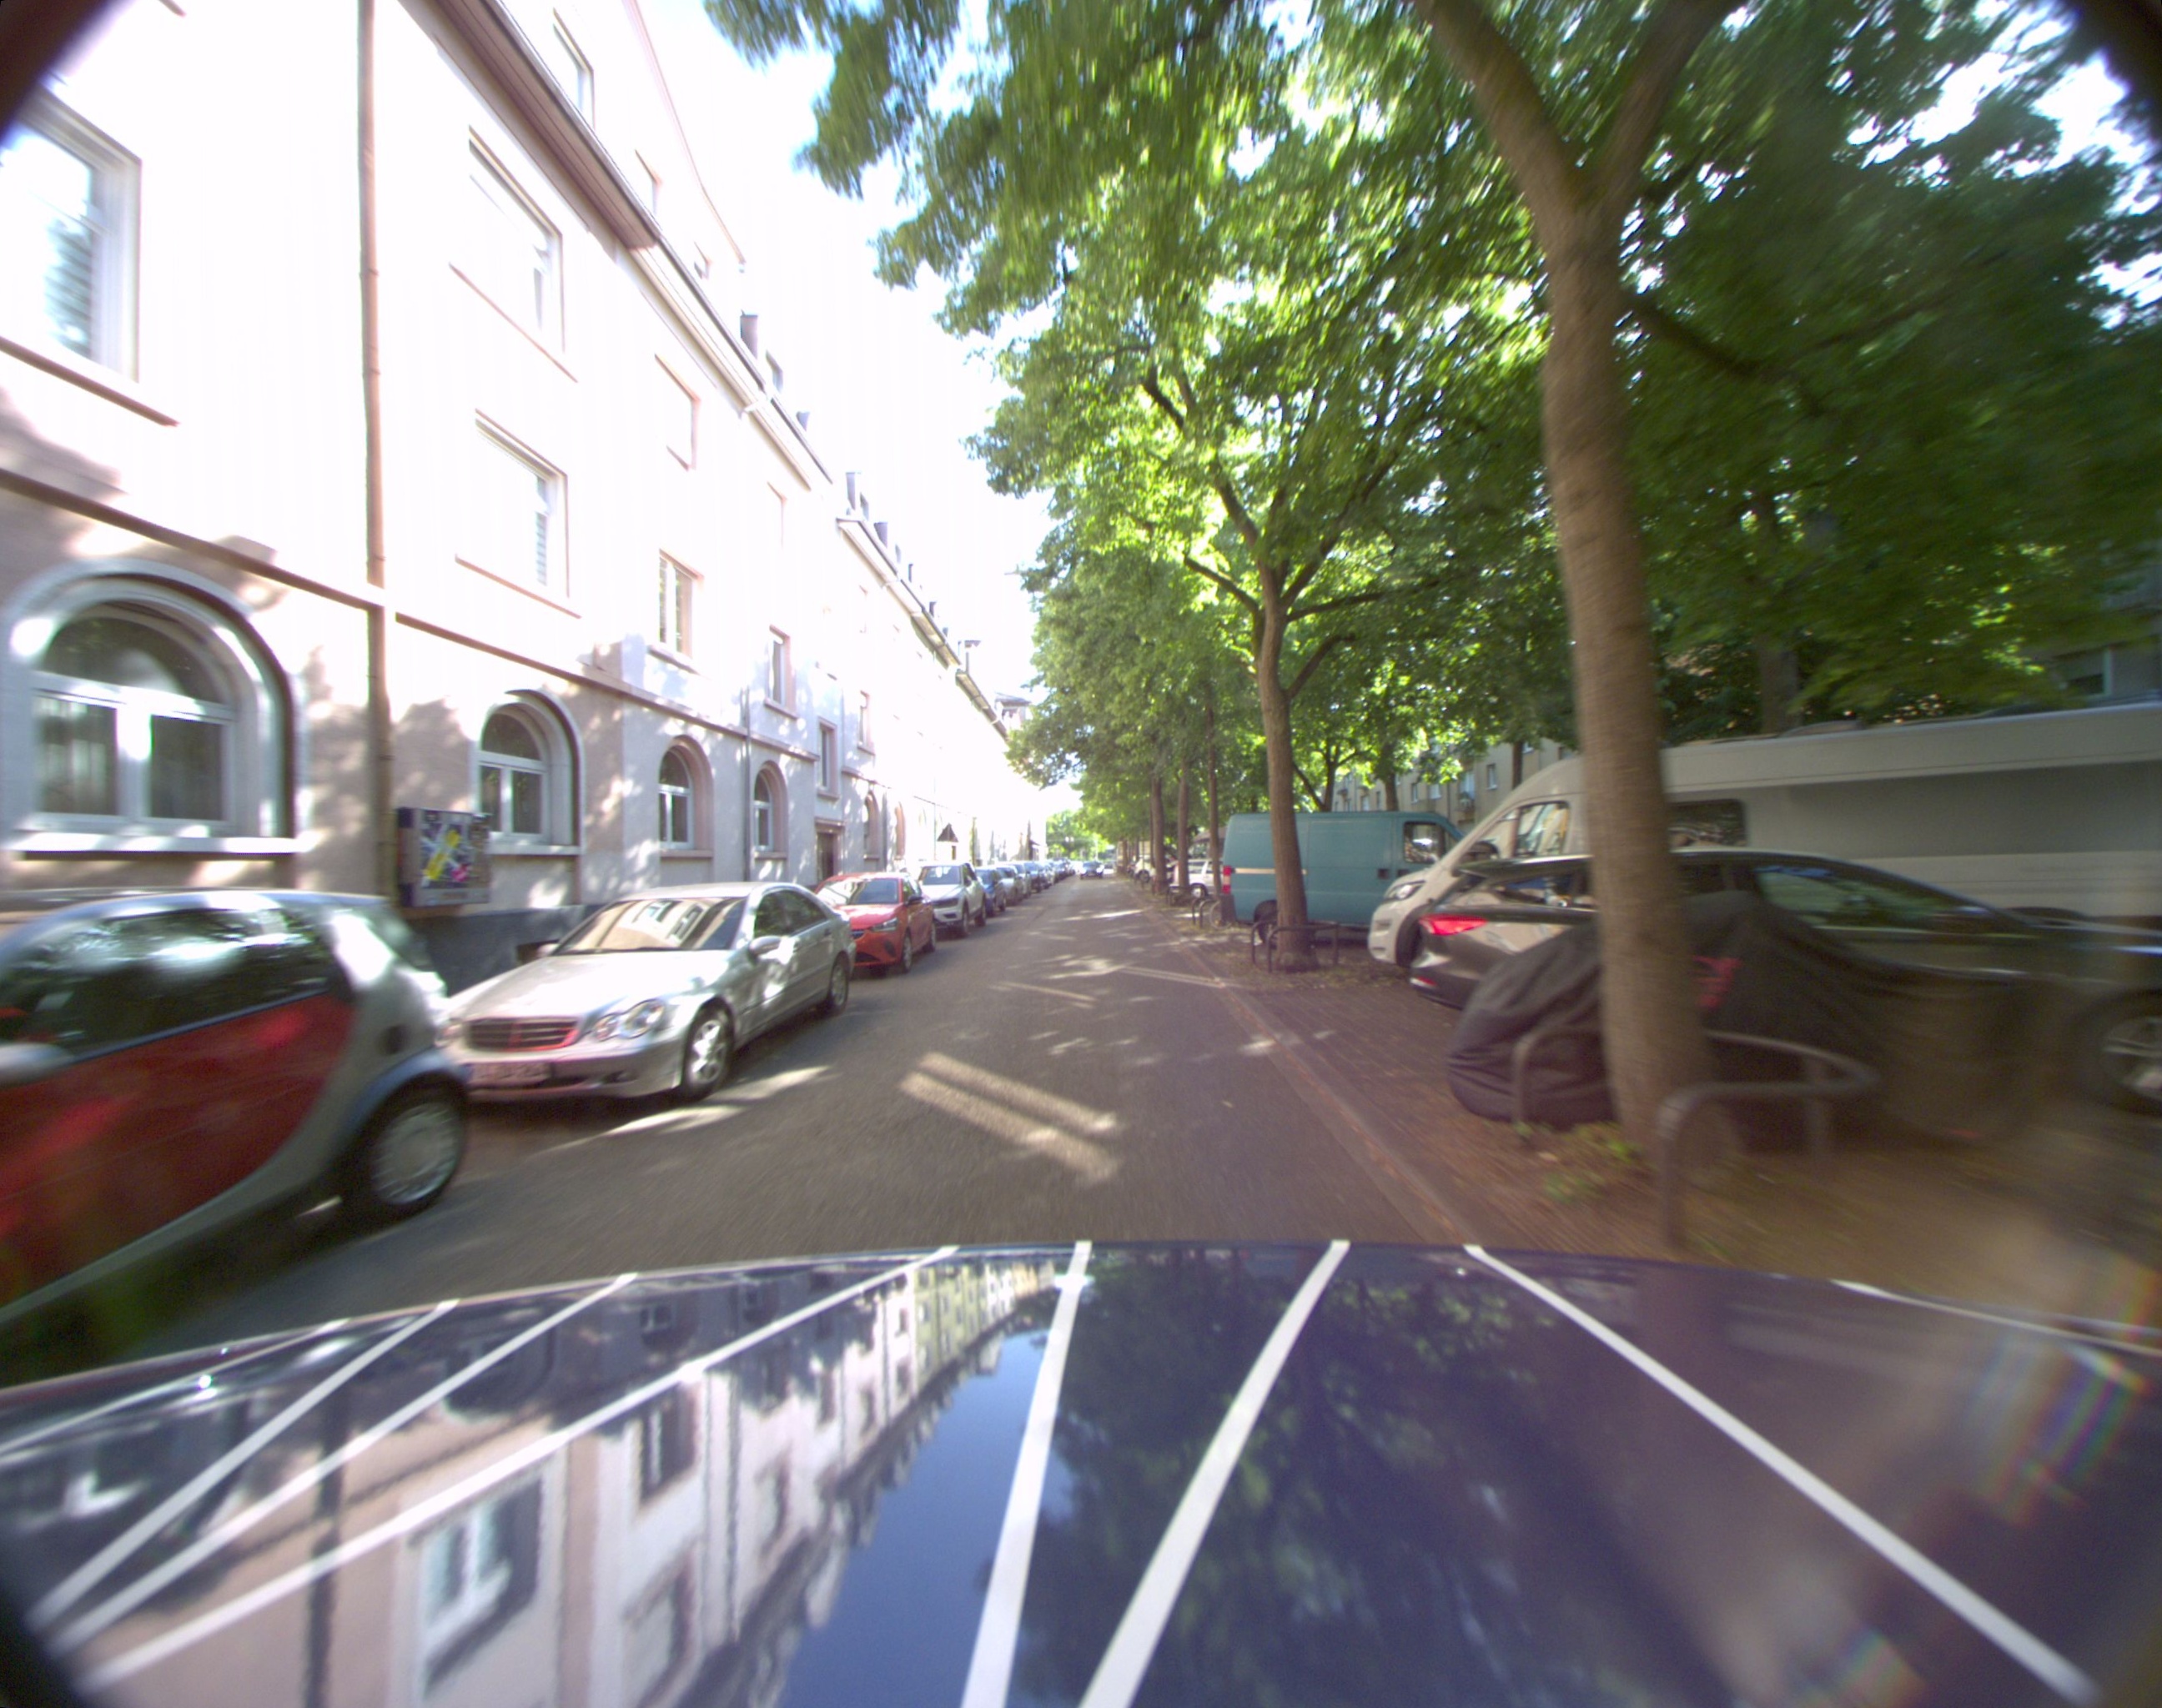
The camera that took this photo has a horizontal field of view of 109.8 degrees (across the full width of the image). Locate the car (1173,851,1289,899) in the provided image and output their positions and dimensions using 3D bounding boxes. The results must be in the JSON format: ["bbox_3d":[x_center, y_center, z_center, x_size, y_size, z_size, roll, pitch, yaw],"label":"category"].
[{"bbox_3d":[4.899,0.687,24.876,3.265,1.408,1.750,-2,1,33],"label":"car"}]

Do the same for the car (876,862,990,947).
[{"bbox_3d":[-3.151,1.007,17.010,1.671,1.590,4.273,-1,0,0],"label":"car"}]

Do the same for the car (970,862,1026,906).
[{"bbox_3d":[-2.937,1.038,27.509,1.577,1.428,3.607,-1,0,0],"label":"car"}]

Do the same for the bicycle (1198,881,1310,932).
[{"bbox_3d":[3.442,1.053,15.296,2.149,0.964,0.609,-1,0,8],"label":"bicycle"}]

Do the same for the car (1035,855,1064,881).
[{"bbox_3d":[-2.219,0.962,54.898,1.863,1.772,4.000,-1,0,1],"label":"car"}]

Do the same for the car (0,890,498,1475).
[{"bbox_3d":[-3.768,0.969,2.414,1.490,1.548,2.969,-1,0,1],"label":"car"}]

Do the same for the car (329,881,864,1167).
[{"bbox_3d":[-3.364,1.047,6.446,1.765,1.455,4.244,-1,0,1],"label":"car"}]

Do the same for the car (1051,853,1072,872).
[{"bbox_3d":[-1.808,0.773,71.255,1.863,1.772,4.000,-1,0,1],"label":"car"}]

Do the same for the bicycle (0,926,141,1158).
[{"bbox_3d":[-6.514,1.120,3.831,0.542,1.274,2.343,-1,0,2],"label":"bicycle"}]

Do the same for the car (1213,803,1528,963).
[{"bbox_3d":[4.501,0.408,12.047,4.387,2.155,1.774,-1,0,29],"label":"car"}]

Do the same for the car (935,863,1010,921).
[{"bbox_3d":[-3.150,1.060,22.626,1.671,1.503,3.607,-1,0,0],"label":"car"}]

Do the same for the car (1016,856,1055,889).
[{"bbox_3d":[-2.509,0.997,42.622,1.863,1.772,4.000,-1,0,1],"label":"car"}]

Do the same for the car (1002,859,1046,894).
[{"bbox_3d":[-2.763,1.074,37.624,1.863,1.584,4.000,-1,0,1],"label":"car"}]

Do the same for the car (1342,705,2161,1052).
[{"bbox_3d":[6.052,0.204,7.626,6.186,2.497,2.143,-1,0,29],"label":"car"}]

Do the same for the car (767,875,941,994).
[{"bbox_3d":[-3.322,1.107,11.916,1.671,1.419,3.971,-1,0,-3],"label":"car"}]

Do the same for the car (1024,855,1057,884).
[{"bbox_3d":[-2.553,0.937,48.655,1.863,1.772,4.000,-1,0,1],"label":"car"}]

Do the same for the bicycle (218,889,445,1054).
[{"bbox_3d":[-6.437,0.946,6.643,0.427,1.195,1.530,-1,0,1],"label":"bicycle"}]

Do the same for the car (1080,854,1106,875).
[{"bbox_3d":[0.991,0.834,61.114,1.791,1.510,4.001,-2,0,4],"label":"car"}]

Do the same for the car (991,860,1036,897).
[{"bbox_3d":[-2.825,0.991,32.449,1.577,1.446,3.403,-1,0,0],"label":"car"}]

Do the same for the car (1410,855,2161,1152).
[{"bbox_3d":[4.834,0.776,5.227,4.512,1.474,1.741,-1,0,31],"label":"car"}]

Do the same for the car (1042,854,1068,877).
[{"bbox_3d":[-1.993,0.896,60.282,1.863,1.772,4.000,-1,0,1],"label":"car"}]

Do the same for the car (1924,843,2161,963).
[{"bbox_3d":[15.464,0.648,11.043,1.998,1.575,4.000,-1,0,1],"label":"car"}]
